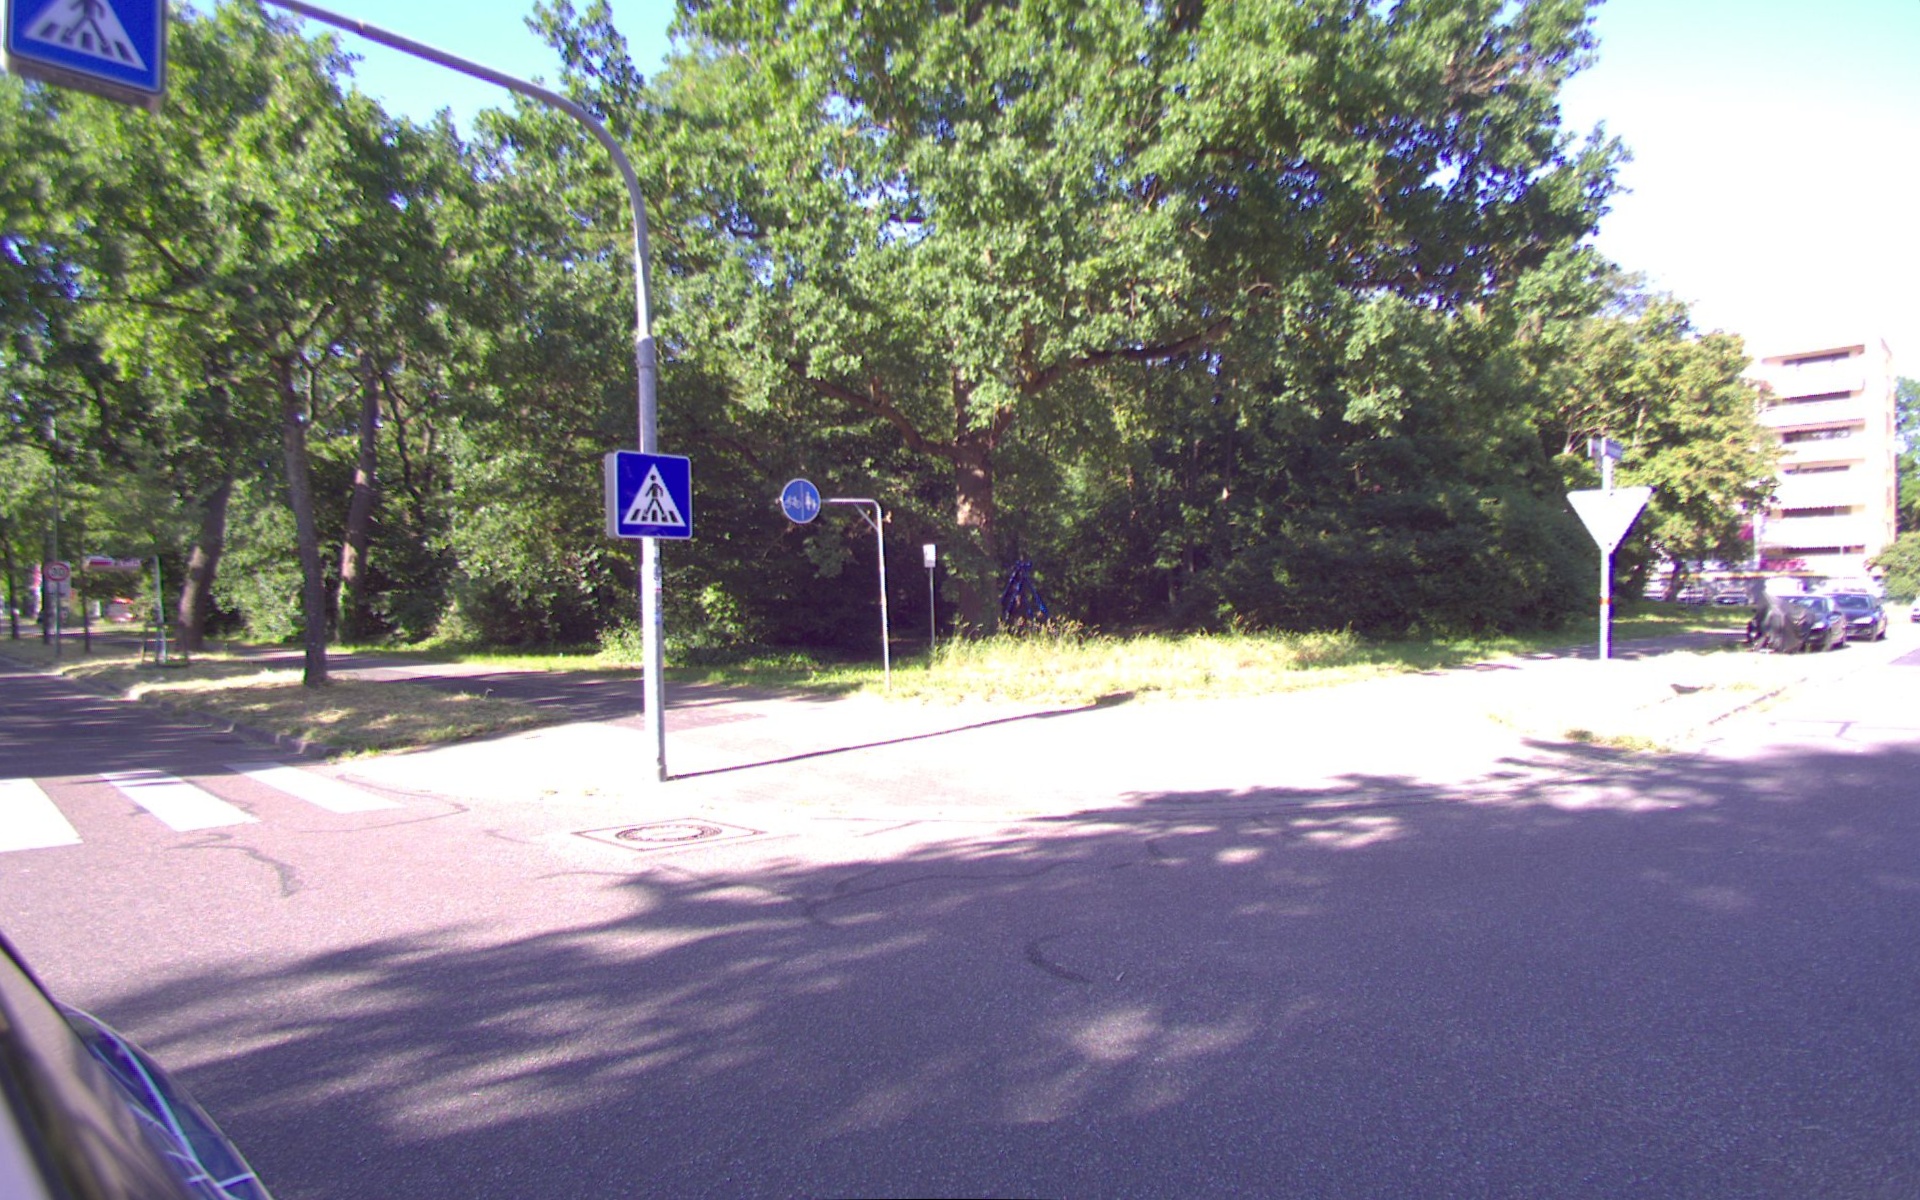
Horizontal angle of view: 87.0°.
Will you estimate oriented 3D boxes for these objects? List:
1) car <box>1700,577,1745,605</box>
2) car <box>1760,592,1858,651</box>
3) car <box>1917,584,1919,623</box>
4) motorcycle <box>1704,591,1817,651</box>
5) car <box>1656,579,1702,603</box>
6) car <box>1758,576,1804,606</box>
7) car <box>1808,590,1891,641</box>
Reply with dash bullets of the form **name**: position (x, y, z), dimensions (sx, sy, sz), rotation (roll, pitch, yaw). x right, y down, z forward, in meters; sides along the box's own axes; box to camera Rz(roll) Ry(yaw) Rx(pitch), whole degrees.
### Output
- **car**: position (49.889, -0.598, 66.165), dimensions (3.779, 1.757, 1.764), rotation (-1, 0, -44)
- **car**: position (22.152, 0.516, 26.367), dimensions (3.535, 1.402, 1.561), rotation (-1, 0, -44)
- **car**: position (41.485, 0.111, 42.547), dimensions (3.779, 1.569, 1.647), rotation (-1, 0, -44)
- **motorcycle**: position (18.691, 0.485, 23.674), dimensions (1.944, 1.354, 0.672), rotation (-1, 0, 16)
- **car**: position (47.991, -0.612, 67.512), dimensions (3.779, 1.538, 1.802), rotation (-1, 0, -44)
- **car**: position (51.682, -0.577, 63.700), dimensions (3.779, 1.757, 1.764), rotation (-1, 0, -44)
- **car**: position (26.706, 0.441, 30.359), dimensions (3.535, 1.402, 1.561), rotation (-1, 0, -44)
